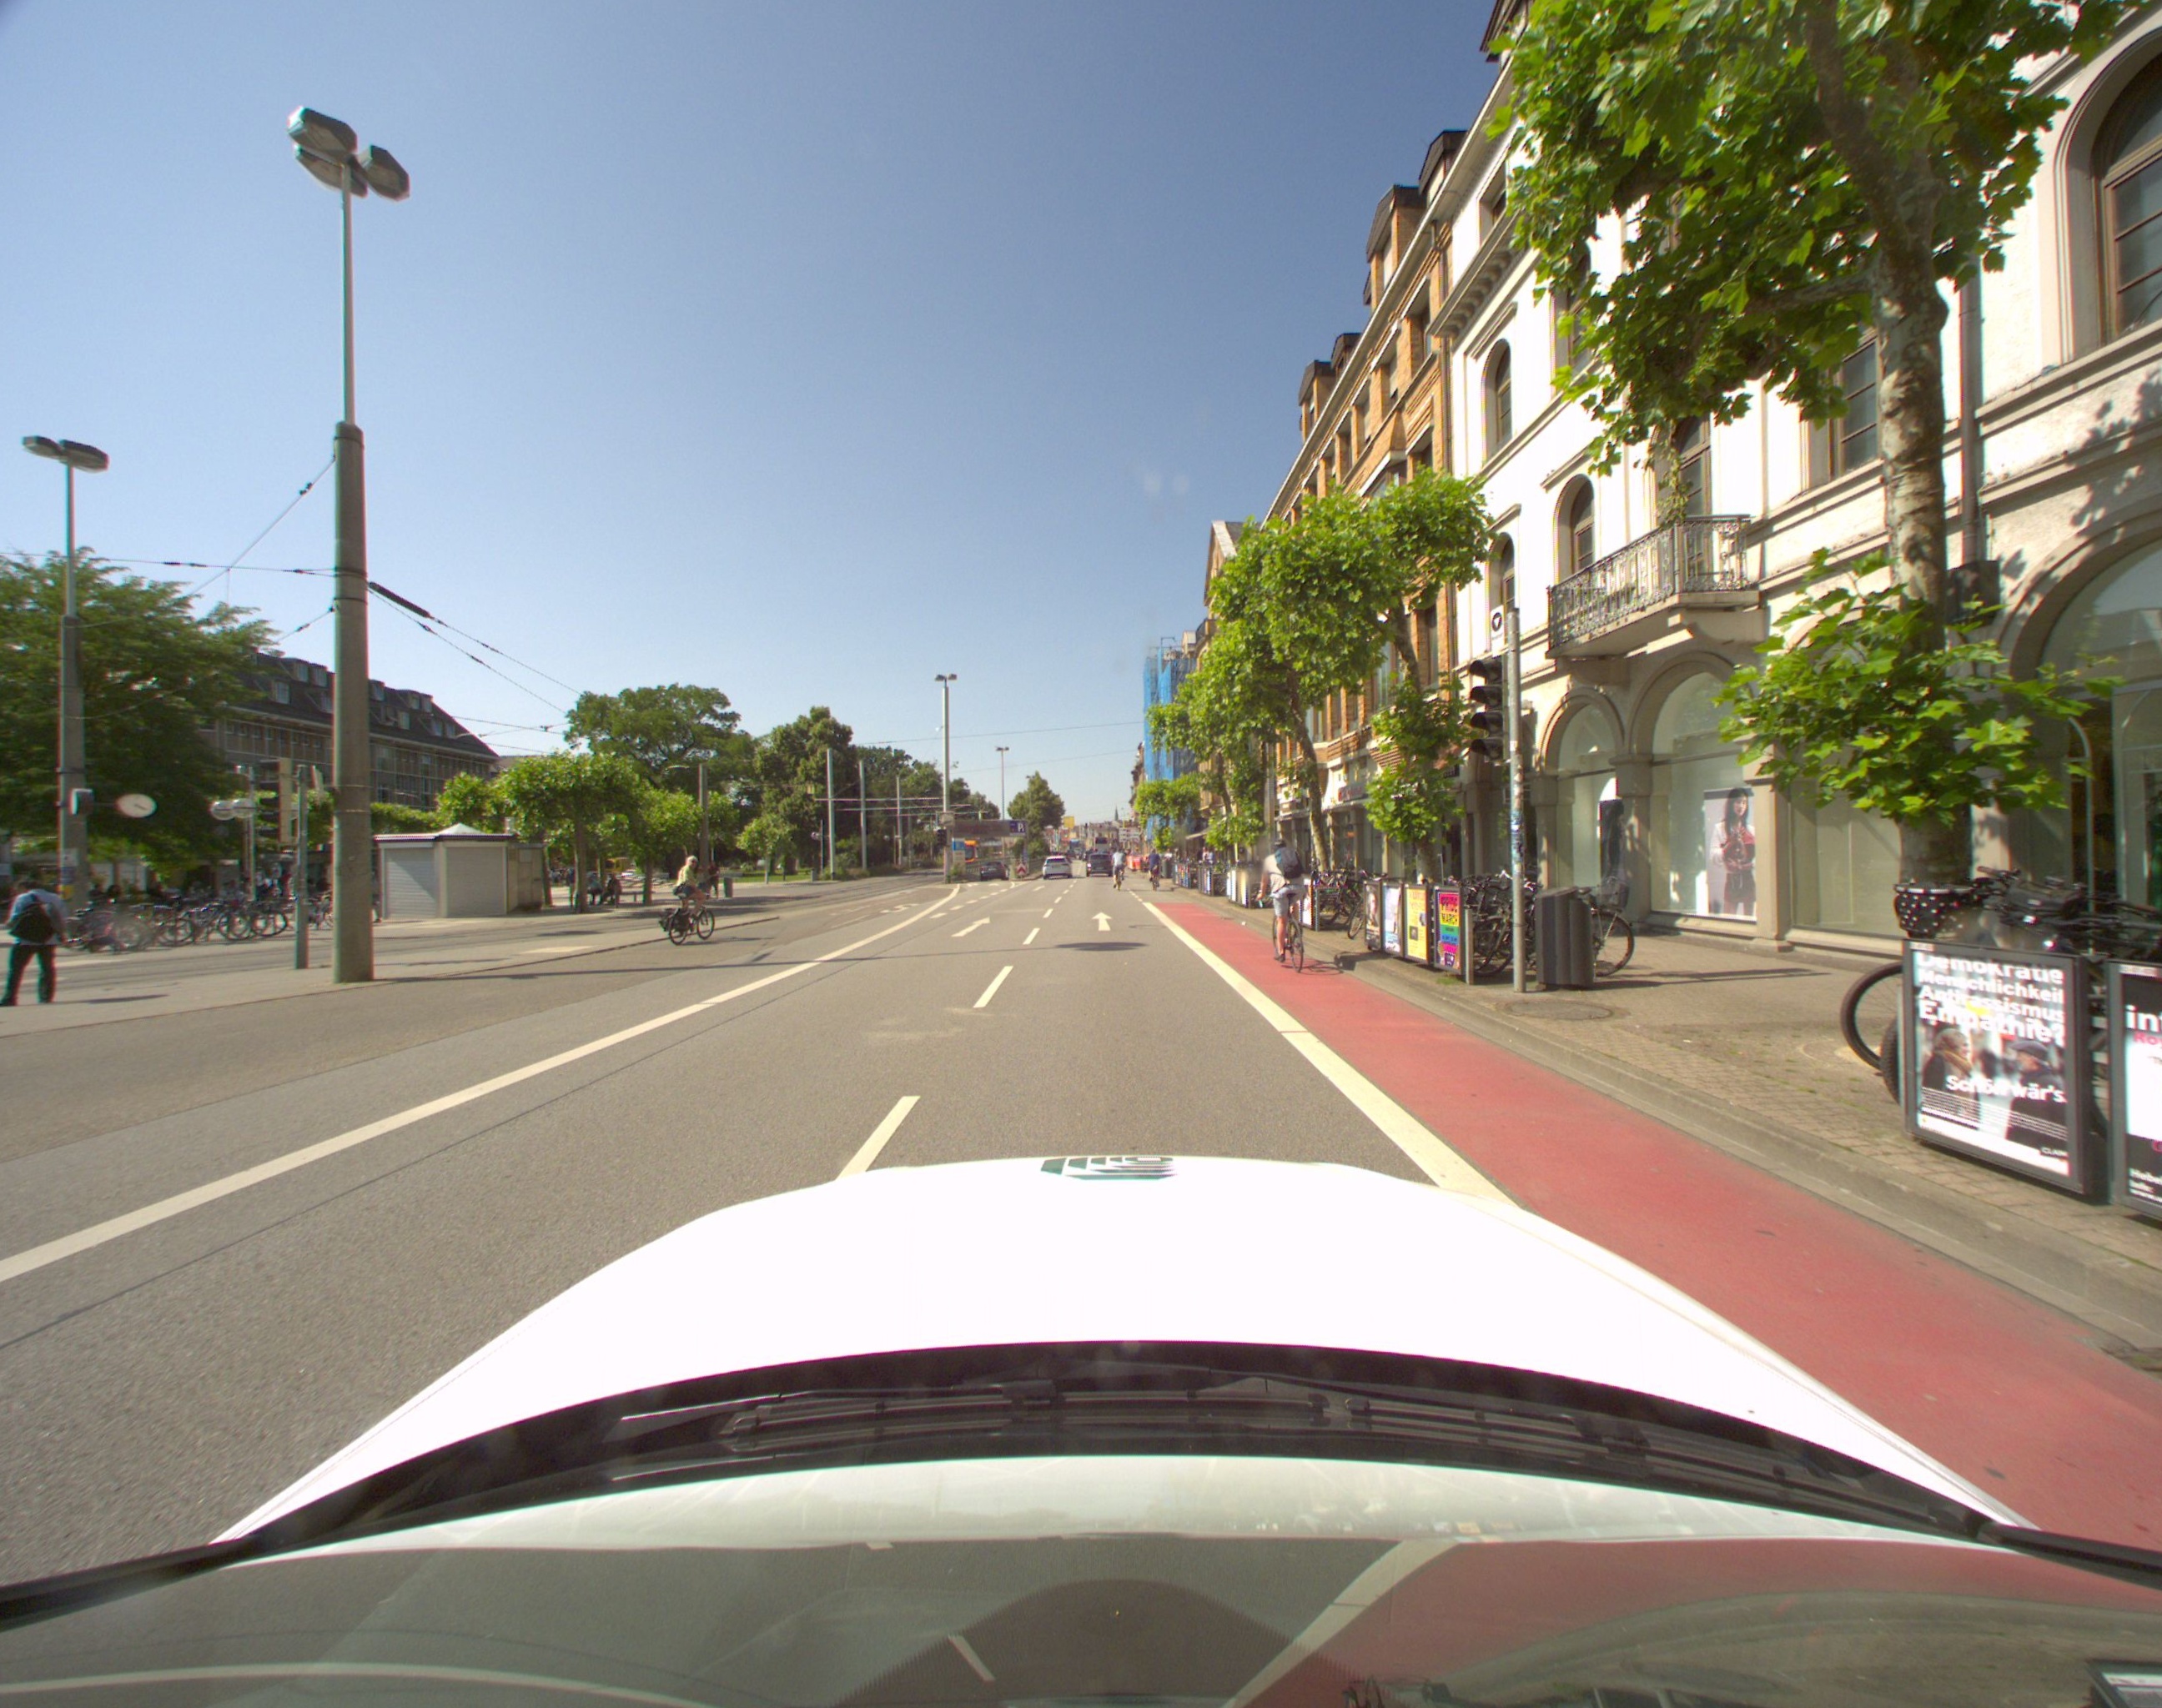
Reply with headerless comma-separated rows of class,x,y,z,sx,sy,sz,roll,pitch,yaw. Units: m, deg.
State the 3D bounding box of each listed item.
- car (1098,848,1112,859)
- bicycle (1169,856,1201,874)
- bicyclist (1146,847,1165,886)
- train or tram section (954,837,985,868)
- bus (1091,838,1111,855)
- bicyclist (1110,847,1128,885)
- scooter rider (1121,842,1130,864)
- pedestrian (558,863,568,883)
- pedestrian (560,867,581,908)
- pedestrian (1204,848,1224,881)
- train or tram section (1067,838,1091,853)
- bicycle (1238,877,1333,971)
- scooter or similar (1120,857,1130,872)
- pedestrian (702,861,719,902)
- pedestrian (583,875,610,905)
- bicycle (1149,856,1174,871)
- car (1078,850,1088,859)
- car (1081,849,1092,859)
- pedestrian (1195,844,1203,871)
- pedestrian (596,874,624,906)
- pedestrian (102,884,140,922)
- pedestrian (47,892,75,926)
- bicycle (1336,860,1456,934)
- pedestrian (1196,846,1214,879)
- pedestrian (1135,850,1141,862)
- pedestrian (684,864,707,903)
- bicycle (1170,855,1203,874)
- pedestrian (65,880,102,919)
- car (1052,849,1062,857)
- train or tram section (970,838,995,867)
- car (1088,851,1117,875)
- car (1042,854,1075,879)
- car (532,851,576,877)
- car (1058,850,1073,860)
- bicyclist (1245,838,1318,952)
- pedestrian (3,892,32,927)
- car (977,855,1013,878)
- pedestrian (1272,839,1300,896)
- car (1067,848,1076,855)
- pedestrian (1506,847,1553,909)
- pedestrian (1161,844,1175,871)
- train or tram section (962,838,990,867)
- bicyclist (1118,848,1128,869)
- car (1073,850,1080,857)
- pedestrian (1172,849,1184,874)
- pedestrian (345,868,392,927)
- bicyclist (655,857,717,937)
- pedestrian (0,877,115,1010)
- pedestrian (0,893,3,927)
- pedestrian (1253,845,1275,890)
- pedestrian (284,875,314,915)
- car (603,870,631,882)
car,3.546,-0.058,120.040,1.986,1.492,4.001,1,0,1
bicycle,6.005,0.626,46.861,1.748,1.018,0.557,-1,0,-2
bicyclist,3.145,0.535,34.282,0.686,1.616,0.918,1,0,-1
train or tram section,-12.986,-0.174,95.298,2.605,3.581,6.103,1,0,0
bus,3.411,-1.301,140.442,2.961,2.776,8.637,1,0,-1
bicyclist,1.605,0.515,34.489,0.686,1.576,1.049,1,0,-1
scooter rider,3.493,-0.059,64.046,0.686,1.729,0.778,1,0,0
pedestrian,-42.262,1.562,66.419,0.413,1.609,0.493,-4,1,-9
pedestrian,-20.363,1.324,32.470,0.577,1.609,0.598,-4,1,-28
pedestrian,6.583,0.512,40.395,0.696,1.626,0.698,-2,0,-15
train or tram section,-0.510,-1.982,199.046,2.800,3.581,10.079,0,0,18
bicycle,2.707,0.886,11.033,0.732,1.093,2.130,1,0,-1
scooter or similar,3.468,0.789,64.006,0.686,1.167,1.463,1,0,0
pedestrian,-15.938,1.179,35.048,0.528,1.733,0.582,-4,1,-30
pedestrian,-20.543,1.525,34.531,0.674,1.171,0.751,-4,1,-6
bicycle,5.852,0.701,59.310,1.748,1.018,0.482,-1,0,-2
car,0.314,0.115,124.561,1.447,1.300,3.342,1,0,0
car,0.807,0.039,112.176,1.446,1.300,3.343,1,0,1
pedestrian,7.453,0.237,51.484,0.377,1.683,0.479,-2,-1,17
pedestrian,-19.673,1.494,34.035,0.674,1.246,0.751,-4,1,-6
pedestrian,-39.200,1.986,33.267,0.620,1.465,0.681,-4,1,5
pedestrian,-39.706,2.158,31.714,0.513,1.263,0.455,-4,1,17
bicycle,5.103,0.682,13.234,1.748,1.147,0.482,-1,0,-2
pedestrian,6.224,0.431,41.011,0.600,1.626,0.641,-4,0,-16
pedestrian,7.816,0.221,111.362,0.652,1.620,0.815,-2,1,-1
pedestrian,-16.580,1.269,35.054,0.521,1.609,0.628,-4,1,10
bicycle,5.976,0.605,46.242,1.748,1.018,0.586,-2,0,-2
pedestrian,-39.696,1.803,32.416,0.618,1.465,0.683,-2,0,13
car,-4.101,-0.121,137.141,1.446,1.300,4.001,1,0,2
train or tram section,-12.929,-0.193,107.120,2.605,3.581,5.357,1,0,0
car,1.445,0.584,54.731,1.867,1.492,4.001,1,0,1
car,-1.427,0.764,52.724,1.852,1.507,4.001,1,0,1
car,-68.089,1.241,105.292,2.120,3.316,5.419,1,0,0
car,-2.017,0.141,105.820,1.809,1.332,4.001,1,0,1
bicyclist,2.704,0.530,11.070,0.686,1.463,1.142,1,0,-1
pedestrian,-40.293,2.092,30.864,0.513,1.263,0.455,-4,1,17
car,-5.928,0.817,56.500,1.986,1.508,4.001,1,0,1
pedestrian,5.928,0.384,23.557,0.649,1.633,0.731,1,0,3
car,-1.623,-0.425,141.210,1.446,1.300,4.001,1,0,2
pedestrian,9.351,0.480,16.990,0.719,1.252,0.595,0,0,44
pedestrian,5.421,0.237,50.831,0.658,1.683,0.650,-1,-1,-16
train or tram section,-12.972,-0.184,101.385,2.605,3.581,6.103,1,0,0
bicyclist,3.155,0.339,60.726,0.686,1.576,1.049,1,0,-1
car,-0.885,-0.154,158.396,1.447,1.300,3.342,1,0,0
pedestrian,7.454,0.601,62.348,0.810,1.848,0.893,-3,-1,8
pedestrian,-21.960,1.335,25.108,0.753,1.728,0.833,-4,1,-23
bicyclist,-8.396,0.890,17.344,0.815,1.622,0.902,-2,1,0
pedestrian,-13.644,1.160,10.756,0.892,1.658,0.678,-1,0,-9
pedestrian,-40.457,2.092,30.154,0.513,1.263,0.455,-4,1,17
pedestrian,7.390,0.548,32.928,0.664,1.781,0.986,-2,0,5
pedestrian,-30.189,1.566,31.437,0.683,1.465,0.618,-4,1,-36
car,-63.406,2.972,111.349,1.753,1.508,3.993,1,0,-5
